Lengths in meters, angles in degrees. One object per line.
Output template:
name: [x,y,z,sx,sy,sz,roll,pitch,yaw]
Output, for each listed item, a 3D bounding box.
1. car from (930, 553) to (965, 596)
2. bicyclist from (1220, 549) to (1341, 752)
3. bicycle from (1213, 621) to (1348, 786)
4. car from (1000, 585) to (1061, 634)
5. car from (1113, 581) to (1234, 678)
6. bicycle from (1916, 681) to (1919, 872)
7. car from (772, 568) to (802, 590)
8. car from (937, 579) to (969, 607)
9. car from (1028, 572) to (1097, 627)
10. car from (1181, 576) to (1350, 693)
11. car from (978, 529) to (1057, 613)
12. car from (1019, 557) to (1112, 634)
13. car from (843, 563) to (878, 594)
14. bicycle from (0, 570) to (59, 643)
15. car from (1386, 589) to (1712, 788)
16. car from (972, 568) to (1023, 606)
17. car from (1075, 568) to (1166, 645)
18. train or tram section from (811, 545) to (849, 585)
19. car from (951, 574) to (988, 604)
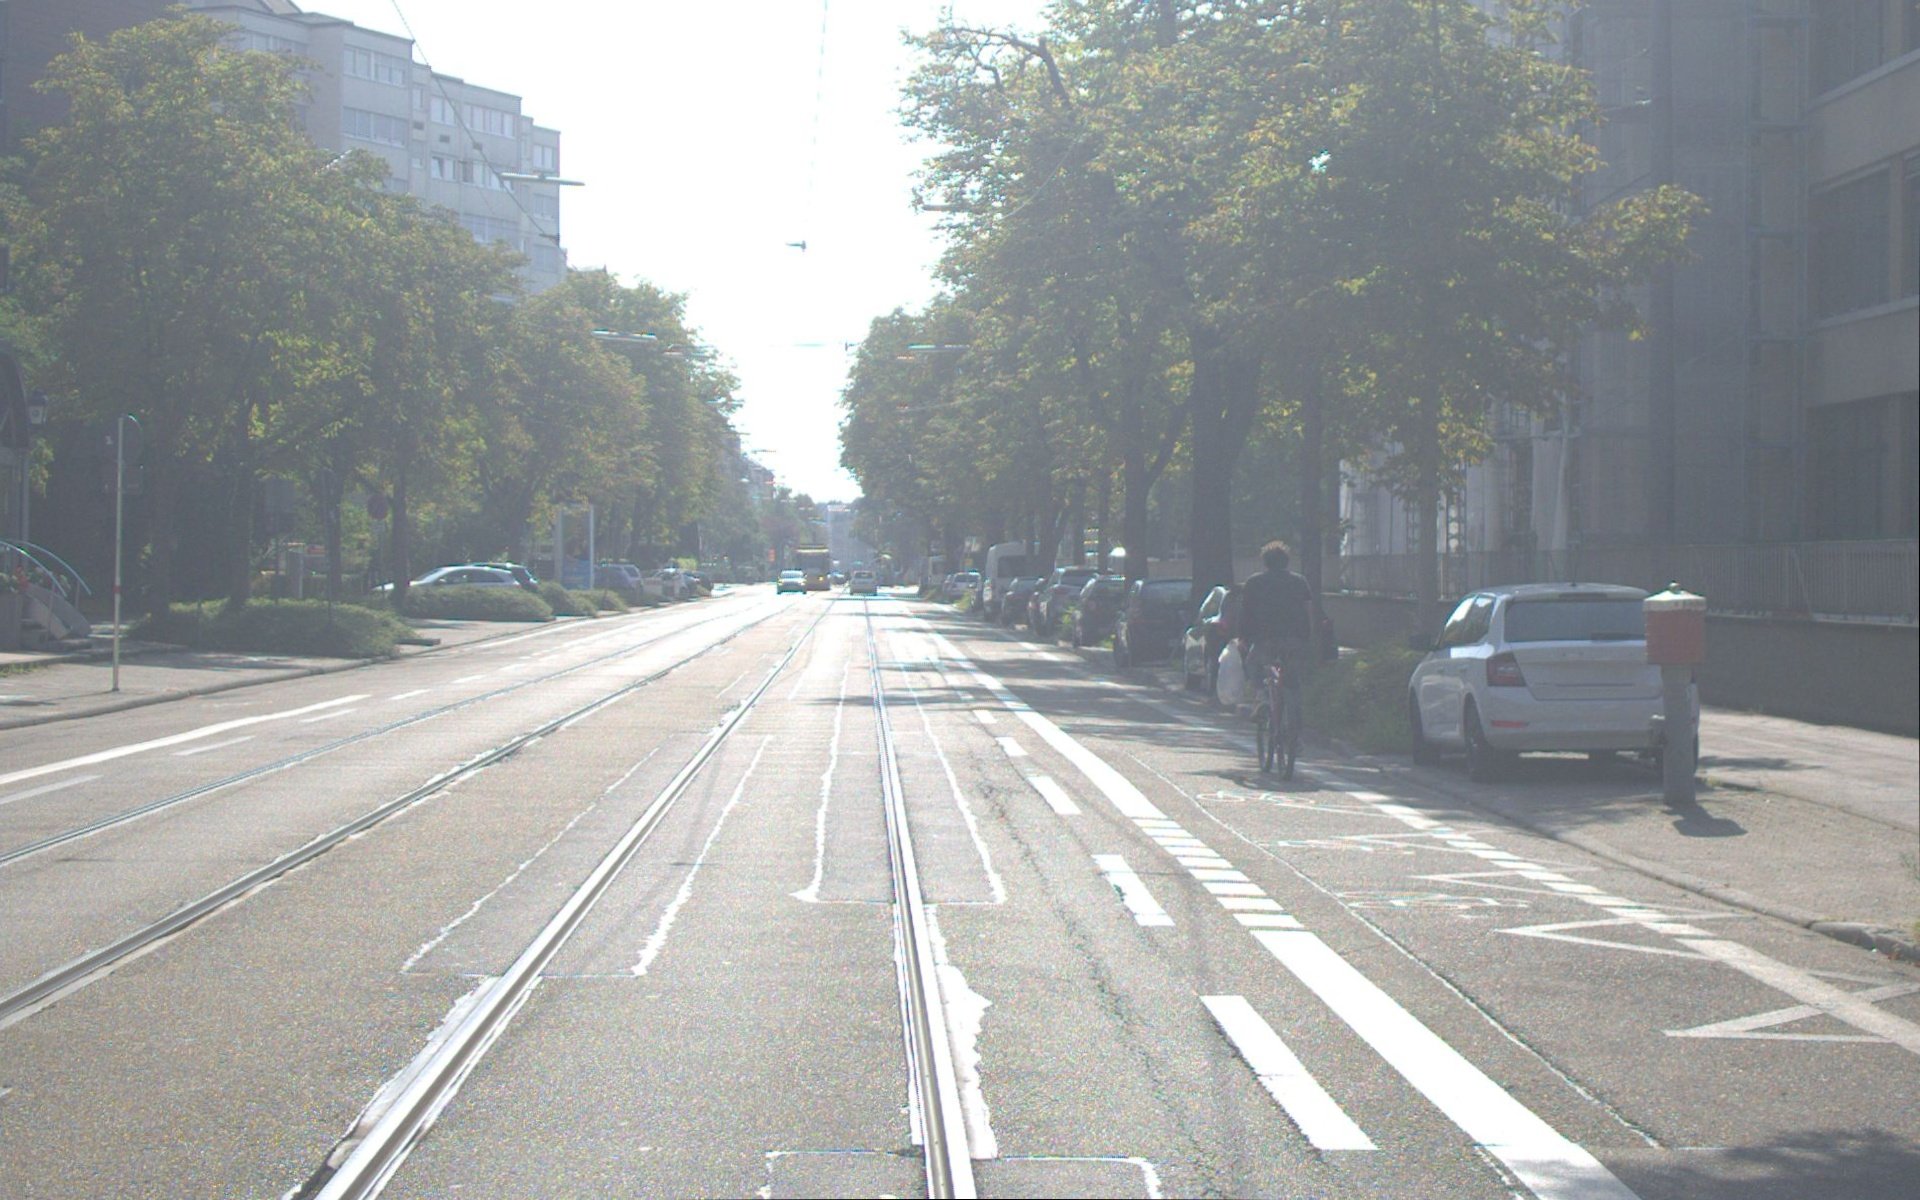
car: [-0.758,-1.524,205.459,2.004,2.482,4.477,0,-1,-1]
bicyclist: [2.367,0.363,25.506,0.787,1.465,1.116,0,0,0]
bicycle: [2.358,0.738,25.516,0.787,1.140,2.305,0,0,0]
car: [2.036,0.262,100.841,1.616,1.369,4.827,0,0,-1]
car: [3.493,0.459,56.763,1.646,1.506,3.778,-1,0,-1]
bicycle: [4.969,0.857,14.227,1.768,1.060,0.796,-1,0,-3]
car: [-10.673,-1.296,212.526,1.828,1.371,4.513,0,0,-2]
car: [-0.369,-0.361,177.362,1.594,1.413,3.634,0,0,-1]
car: [2.676,-0.024,90.401,1.616,1.409,4.000,0,0,-1]
car: [3.945,0.413,44.938,1.646,1.423,4.085,-1,0,-2]
car: [1.822,-0.923,110.823,2.082,2.544,5.502,-3,0,-3]
car: [2.419,-0.128,79.924,1.753,1.685,4.397,1,1,-3]
car: [-5.993,-1.274,207.164,1.993,1.831,4.000,0,0,0]
bicycle: [-15.188,0.062,54.161,1.802,1.070,0.421,5,-2,-23]
car: [4.501,0.632,26.797,1.640,1.425,3.989,-1,0,-3]
car: [1.394,-0.502,130.061,1.753,1.373,4.719,-1,0,-1]
car: [3.222,0.108,69.612,1.576,1.480,3.738,-1,1,-1]
train or tram section: [-9.845,-2.598,261.564,2.729,2.885,15.455,0,0,-1]
car: [0.460,-0.513,163.604,1.689,1.413,3.634,0,0,-1]
